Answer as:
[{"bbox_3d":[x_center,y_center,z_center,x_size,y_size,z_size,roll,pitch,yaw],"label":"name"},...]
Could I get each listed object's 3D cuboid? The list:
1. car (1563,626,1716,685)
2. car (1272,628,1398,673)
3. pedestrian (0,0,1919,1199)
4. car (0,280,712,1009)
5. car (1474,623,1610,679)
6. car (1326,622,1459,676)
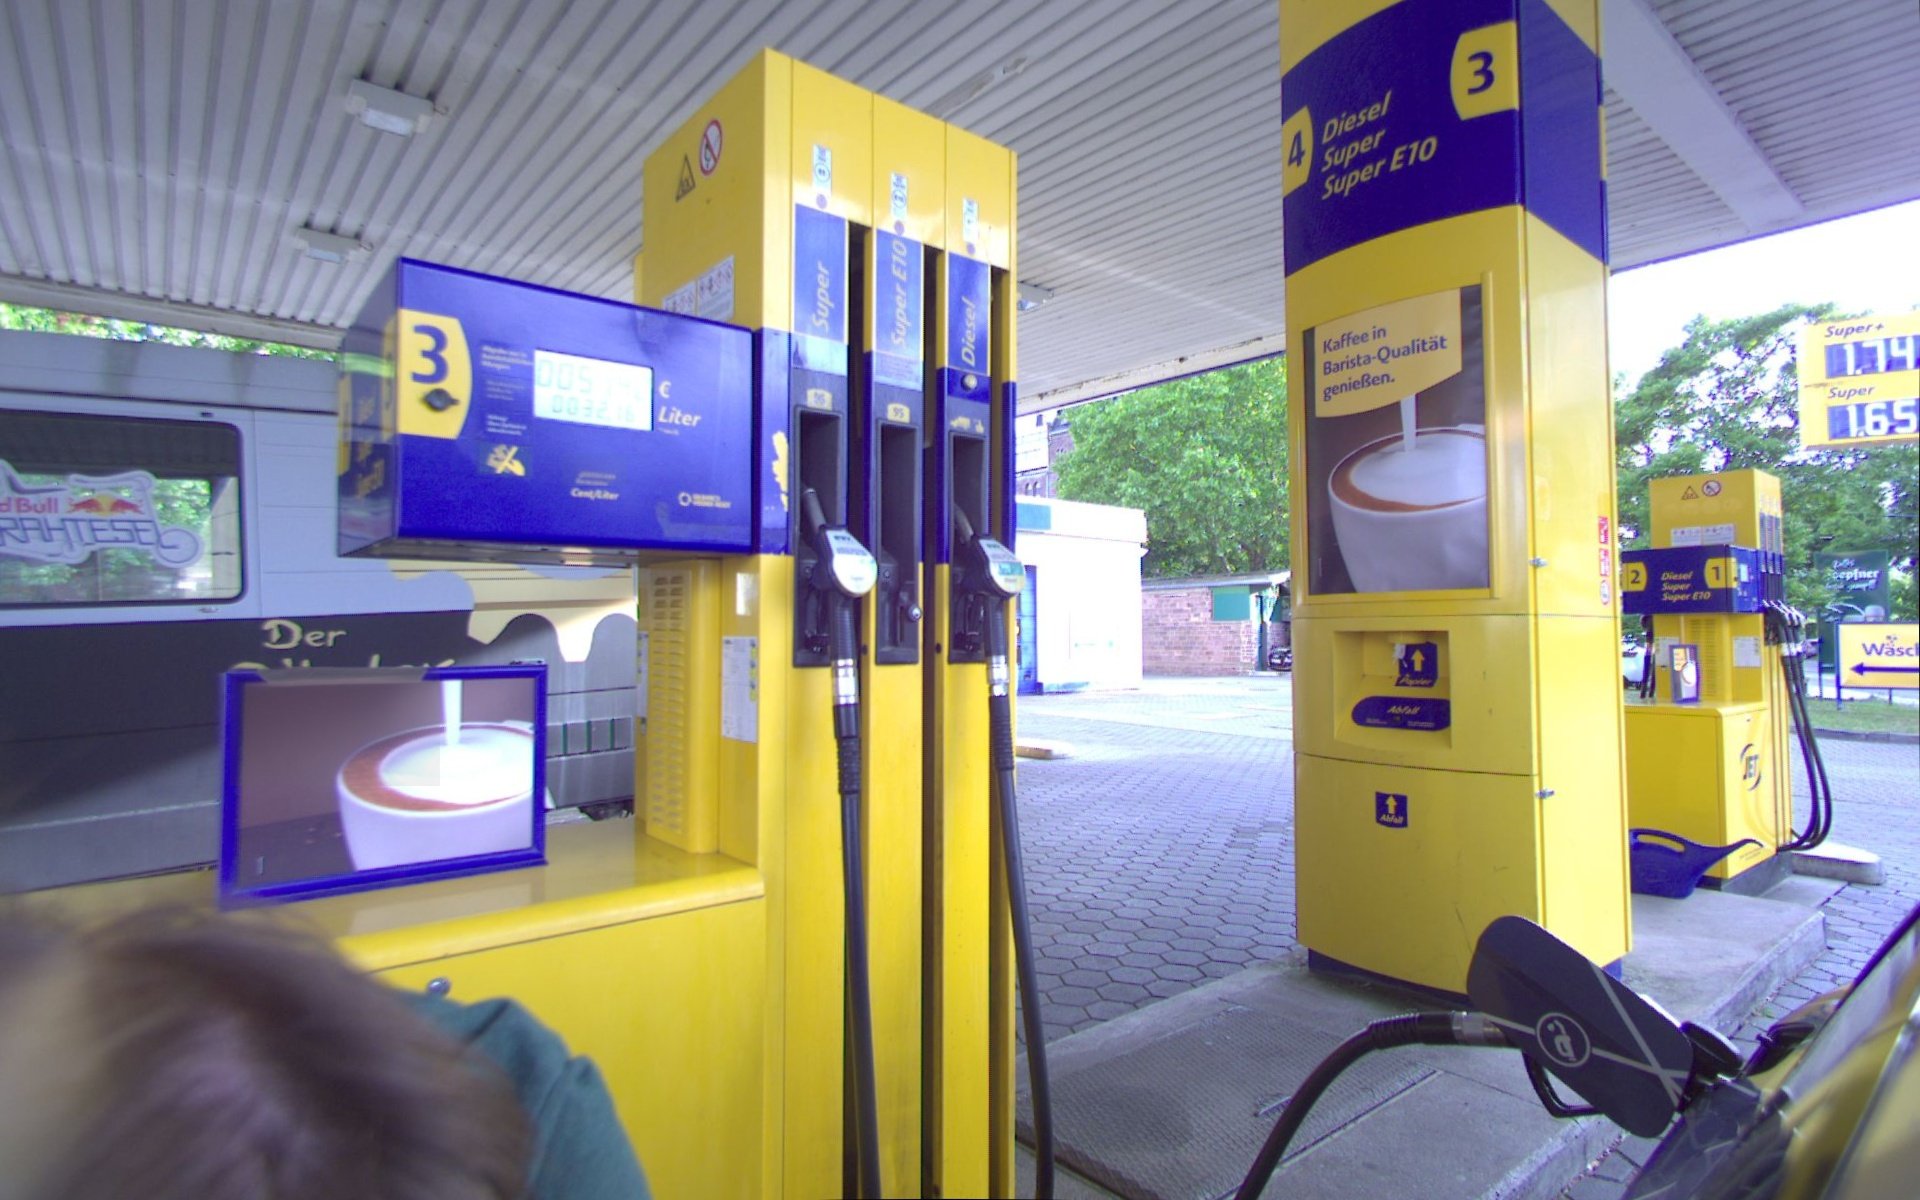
[{"bbox_3d":[18.241,1.480,27.140,4.112,1.478,1.826,2,-3,-31],"label":"car"},{"bbox_3d":[12.629,1.689,34.038,4.112,1.453,1.826,2,-3,-31],"label":"car"},{"bbox_3d":[-0.343,0.512,0.571,0.975,1.750,1.182,-2,1,-36],"label":"pedestrian"},{"bbox_3d":[-4.110,0.176,4.861,5.248,2.760,2.201,0,-1,-39],"label":"car"},{"bbox_3d":[17.757,1.571,30.857,4.112,1.606,1.826,2,-3,-31],"label":"car"},{"bbox_3d":[13.768,1.559,32.175,4.112,1.606,1.826,2,-3,-31],"label":"car"}]
